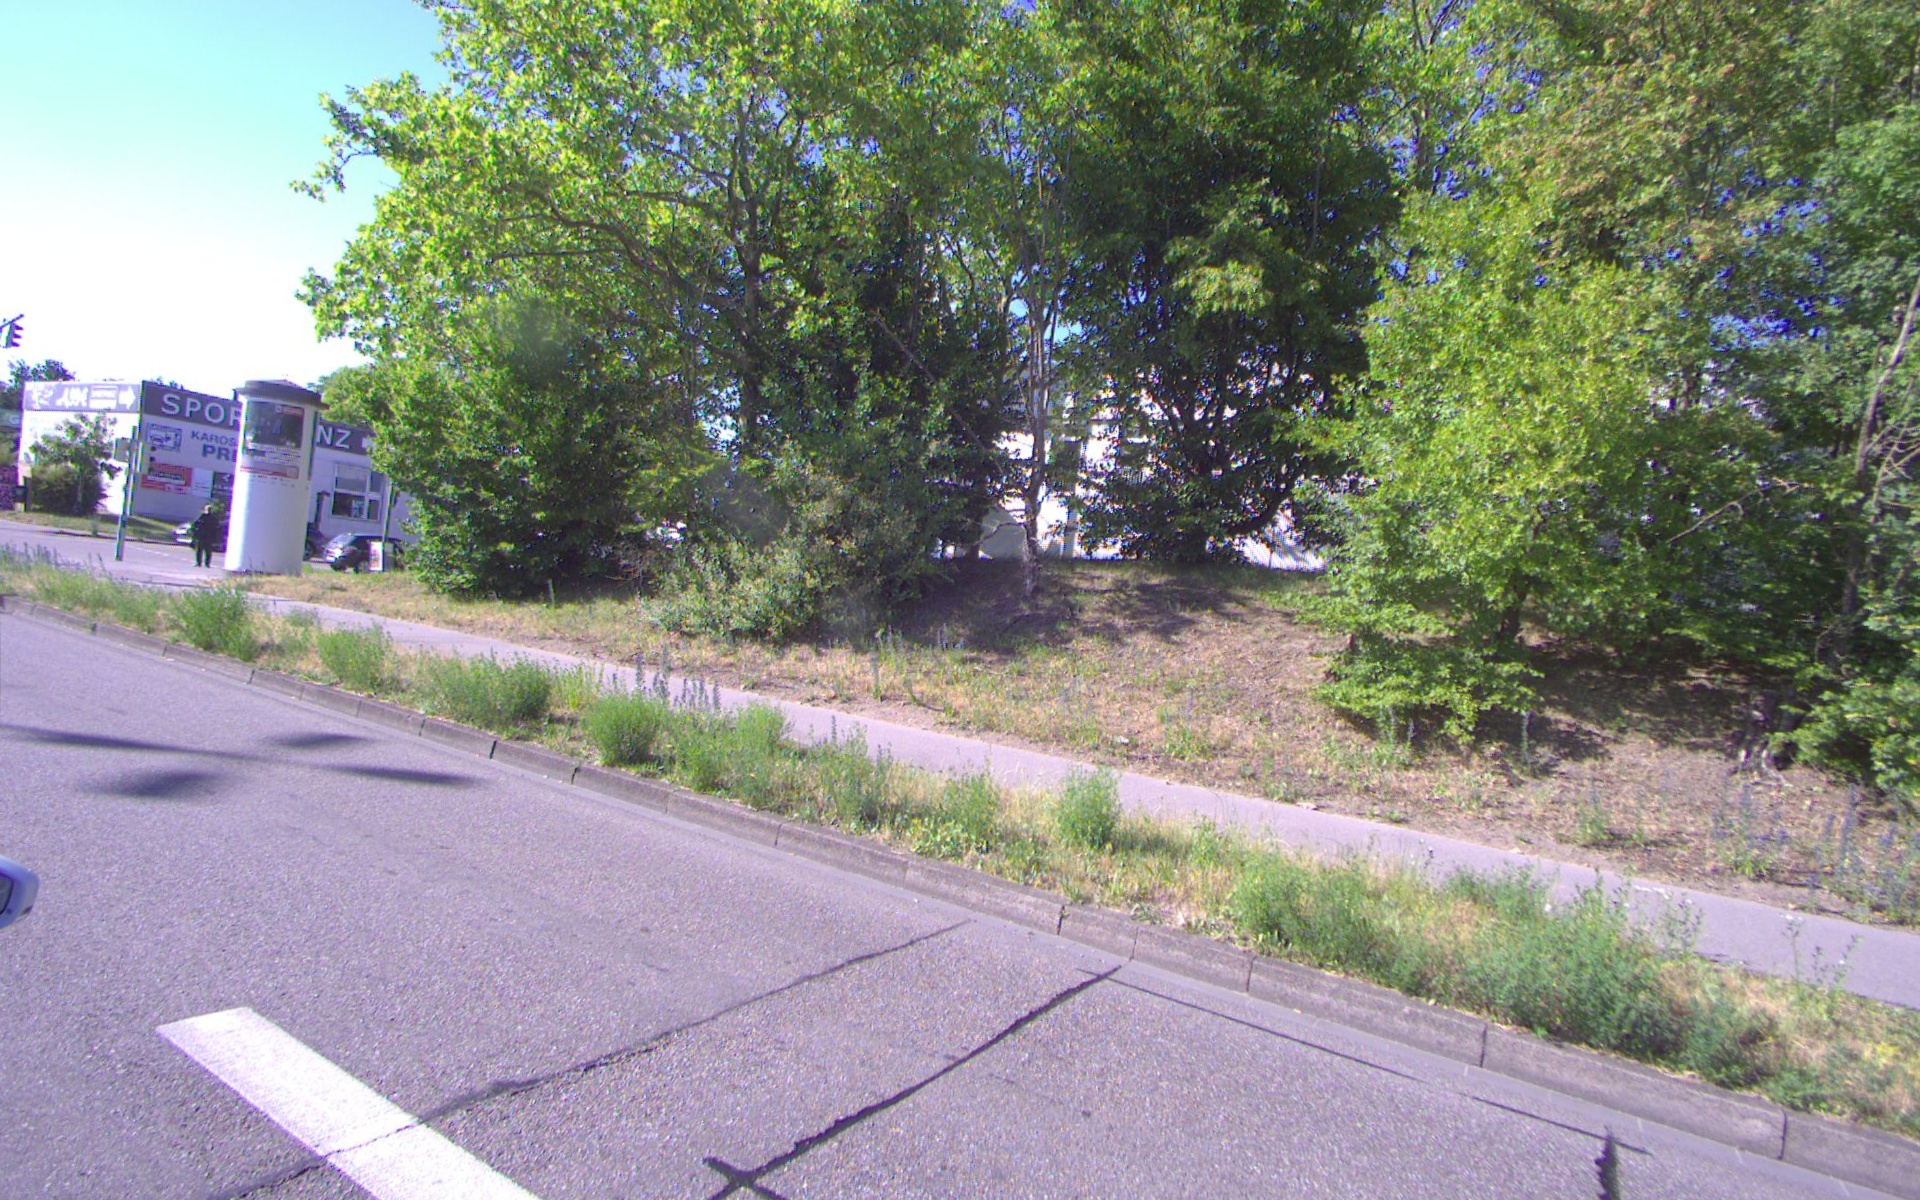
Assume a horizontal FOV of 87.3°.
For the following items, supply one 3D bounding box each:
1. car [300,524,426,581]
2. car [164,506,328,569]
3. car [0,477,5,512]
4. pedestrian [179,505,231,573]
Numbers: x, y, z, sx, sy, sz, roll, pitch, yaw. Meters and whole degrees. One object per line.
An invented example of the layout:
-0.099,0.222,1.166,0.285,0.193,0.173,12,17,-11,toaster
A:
-21.209,-1.645,35.937,1.708,1.495,3.993,7,-1,6,car
-27.139,-2.341,38.401,1.966,1.673,4.607,7,-1,31,car
-48.286,-5.359,47.684,1.663,1.726,4.003,7,-1,16,car
-20.986,-1.701,27.973,0.841,1.743,0.822,7,0,39,pedestrian
